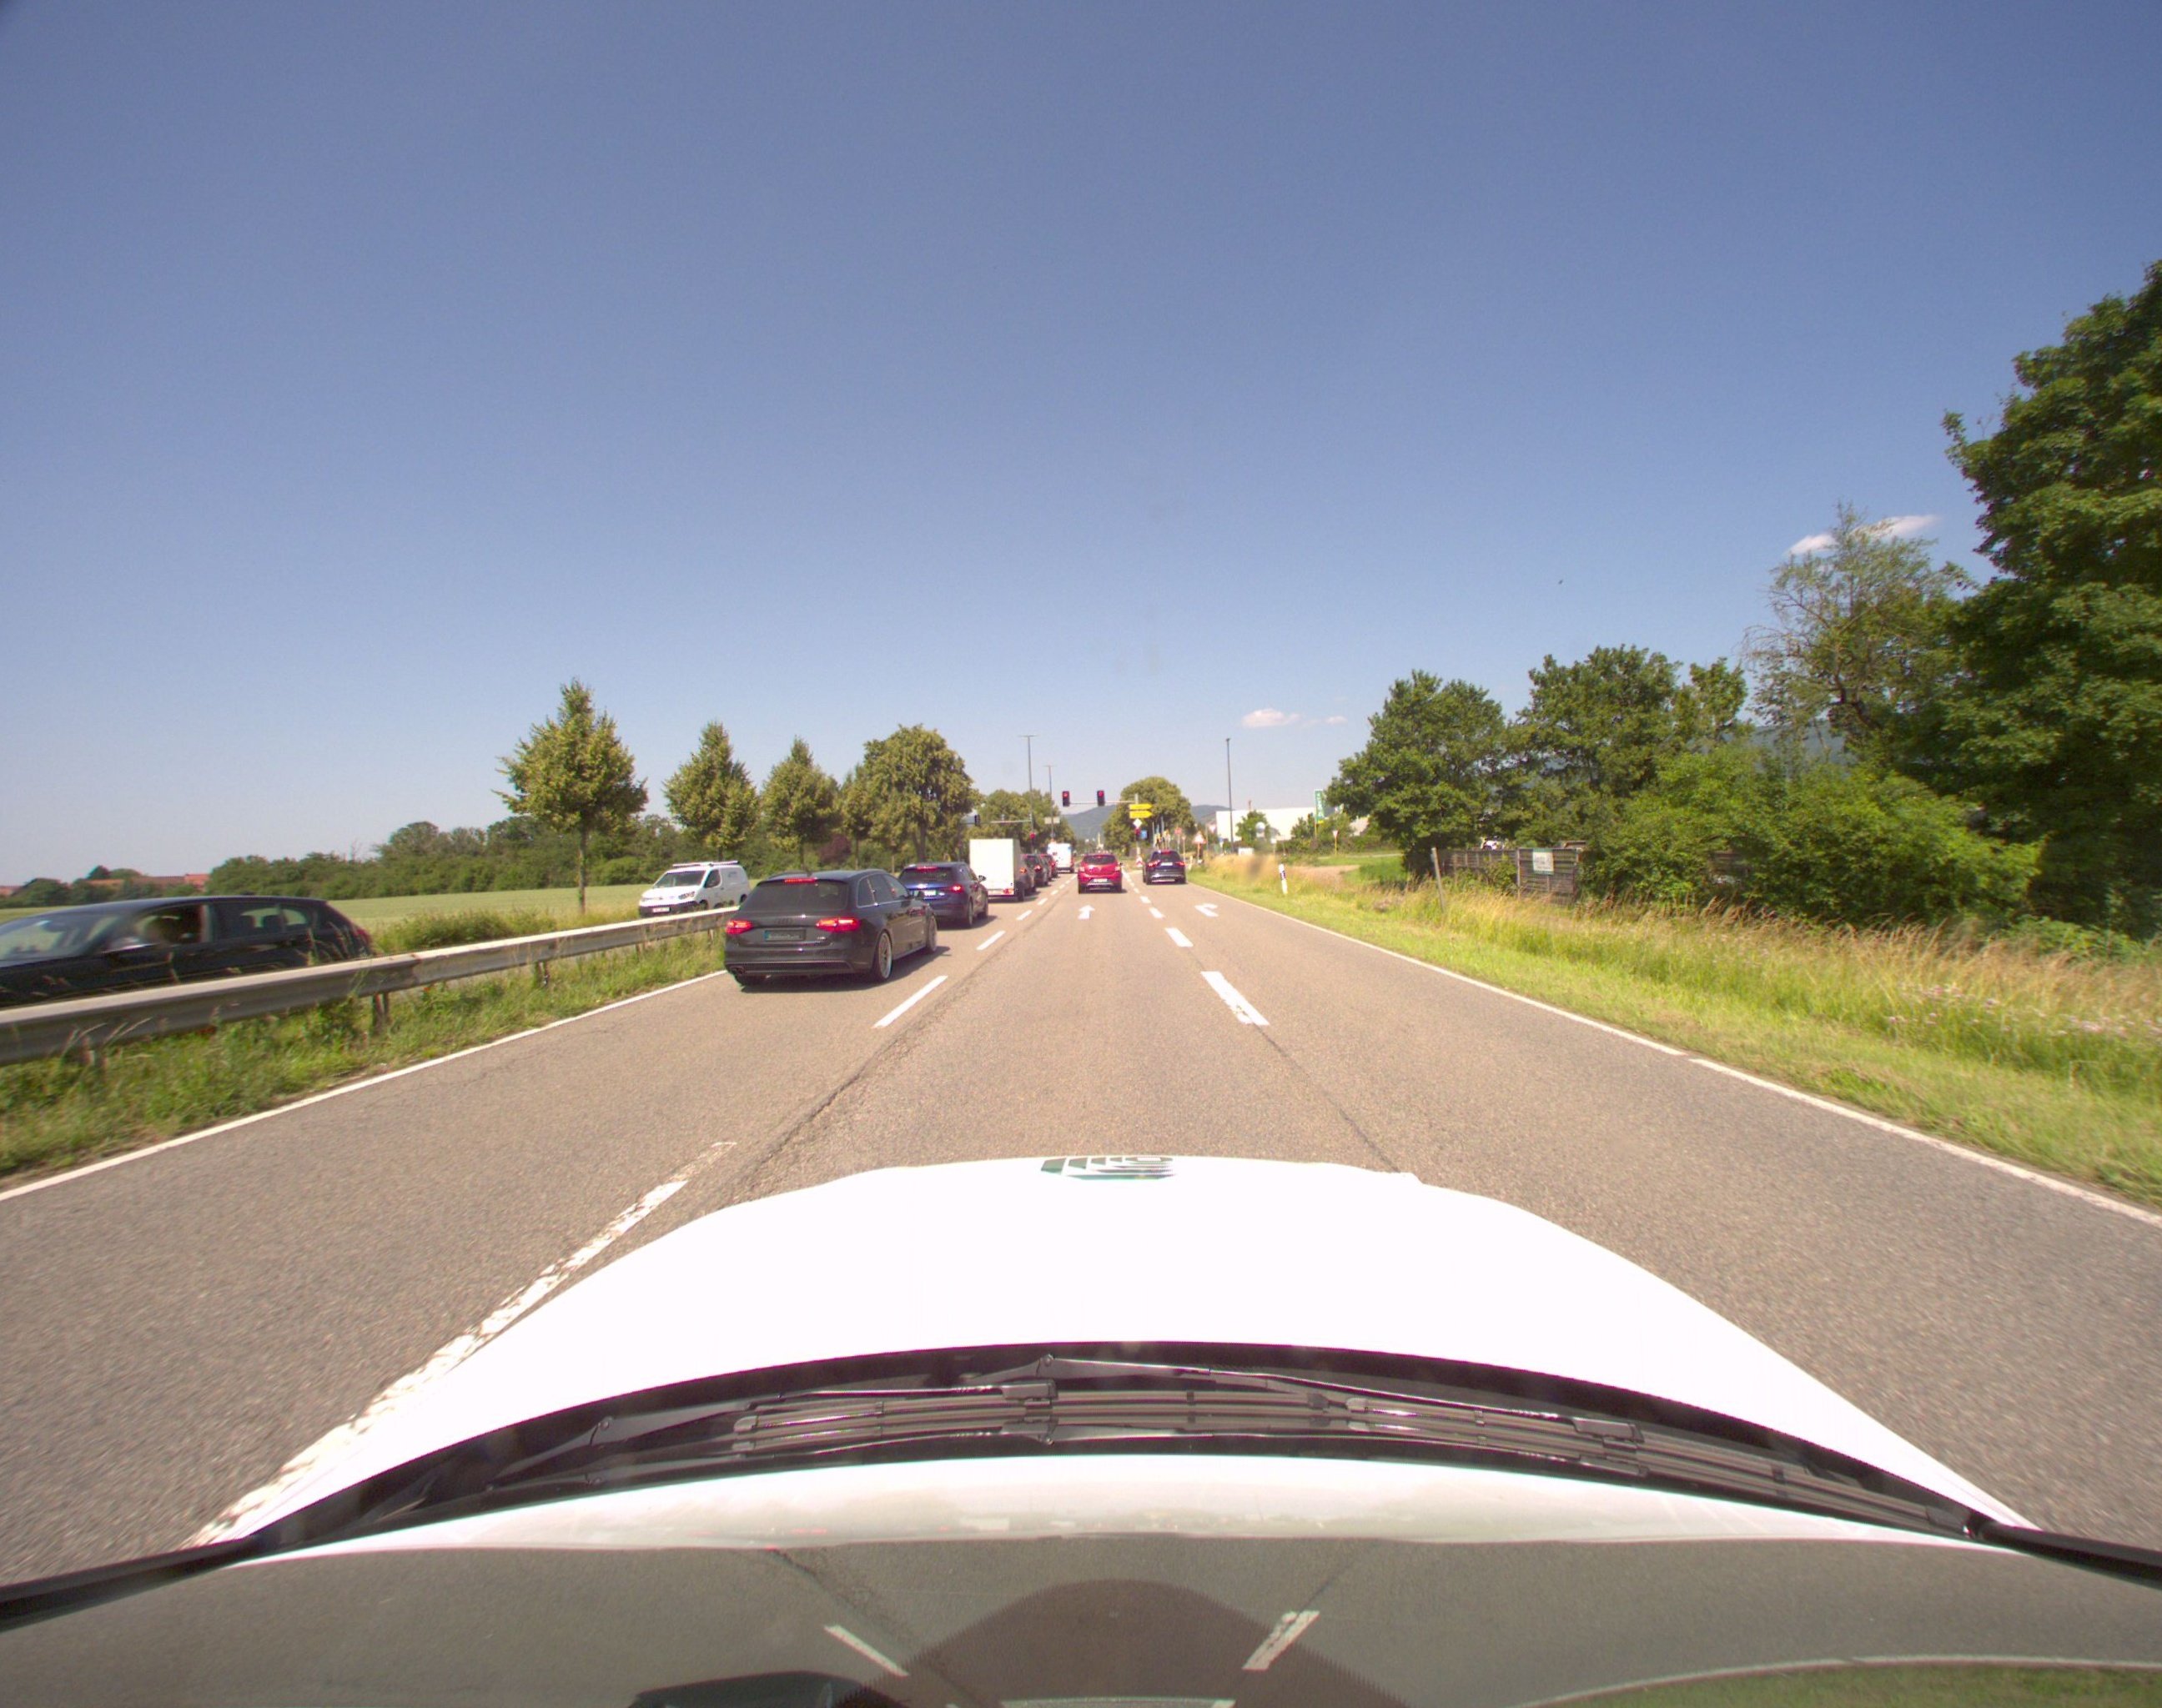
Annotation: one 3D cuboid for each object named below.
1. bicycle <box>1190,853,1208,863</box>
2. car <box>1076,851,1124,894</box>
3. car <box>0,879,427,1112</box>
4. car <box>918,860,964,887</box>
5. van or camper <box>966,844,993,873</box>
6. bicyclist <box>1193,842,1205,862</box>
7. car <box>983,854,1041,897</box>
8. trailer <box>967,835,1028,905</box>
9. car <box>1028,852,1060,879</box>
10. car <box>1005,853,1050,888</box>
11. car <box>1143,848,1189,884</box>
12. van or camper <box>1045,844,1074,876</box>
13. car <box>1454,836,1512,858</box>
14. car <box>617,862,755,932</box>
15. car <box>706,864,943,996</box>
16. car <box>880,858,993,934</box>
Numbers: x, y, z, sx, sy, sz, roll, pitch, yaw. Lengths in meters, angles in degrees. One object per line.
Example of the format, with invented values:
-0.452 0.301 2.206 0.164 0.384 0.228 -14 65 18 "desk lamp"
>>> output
10.598 0.362 72.981 0.761 0.915 2.770 -3 0 -9 "bicycle"
0.805 0.694 32.589 1.742 1.575 3.679 -2 0 3 "car"
-8.945 1.143 7.568 1.986 1.603 4.481 -3 0 1 "car"
-8.518 1.146 49.851 1.872 1.454 4.505 -3 0 1 "car"
-11.757 0.494 94.627 2.256 3.099 5.695 -3 0 0 "van or camper"
10.576 -0.164 72.836 0.802 1.771 0.806 -3 0 -10 "bicyclist"
-2.605 0.794 31.780 1.739 1.503 4.364 -2 0 1 "car"
-2.766 0.498 27.702 1.495 2.173 4.175 -1 0 1 "trailer"
-2.359 0.718 53.120 1.717 1.600 3.957 -2 0 2 "car"
-2.505 0.745 39.058 1.716 1.575 3.894 -2 0 2 "car"
4.054 0.539 39.568 1.985 1.616 4.343 -1 0 3 "car"
-1.646 0.445 63.596 2.173 2.303 4.824 -1 0 -1 "van or camper"
38.383 -0.674 77.827 4.469 1.868 1.887 -3 0 4 "car"
-12.673 1.295 26.533 1.986 1.951 4.831 -3 0 1 "car"
-3.236 0.877 11.299 1.734 1.380 4.457 -1 0 2 "car"
-3.142 0.857 18.508 1.711 1.465 4.031 -1 0 1 "car"
